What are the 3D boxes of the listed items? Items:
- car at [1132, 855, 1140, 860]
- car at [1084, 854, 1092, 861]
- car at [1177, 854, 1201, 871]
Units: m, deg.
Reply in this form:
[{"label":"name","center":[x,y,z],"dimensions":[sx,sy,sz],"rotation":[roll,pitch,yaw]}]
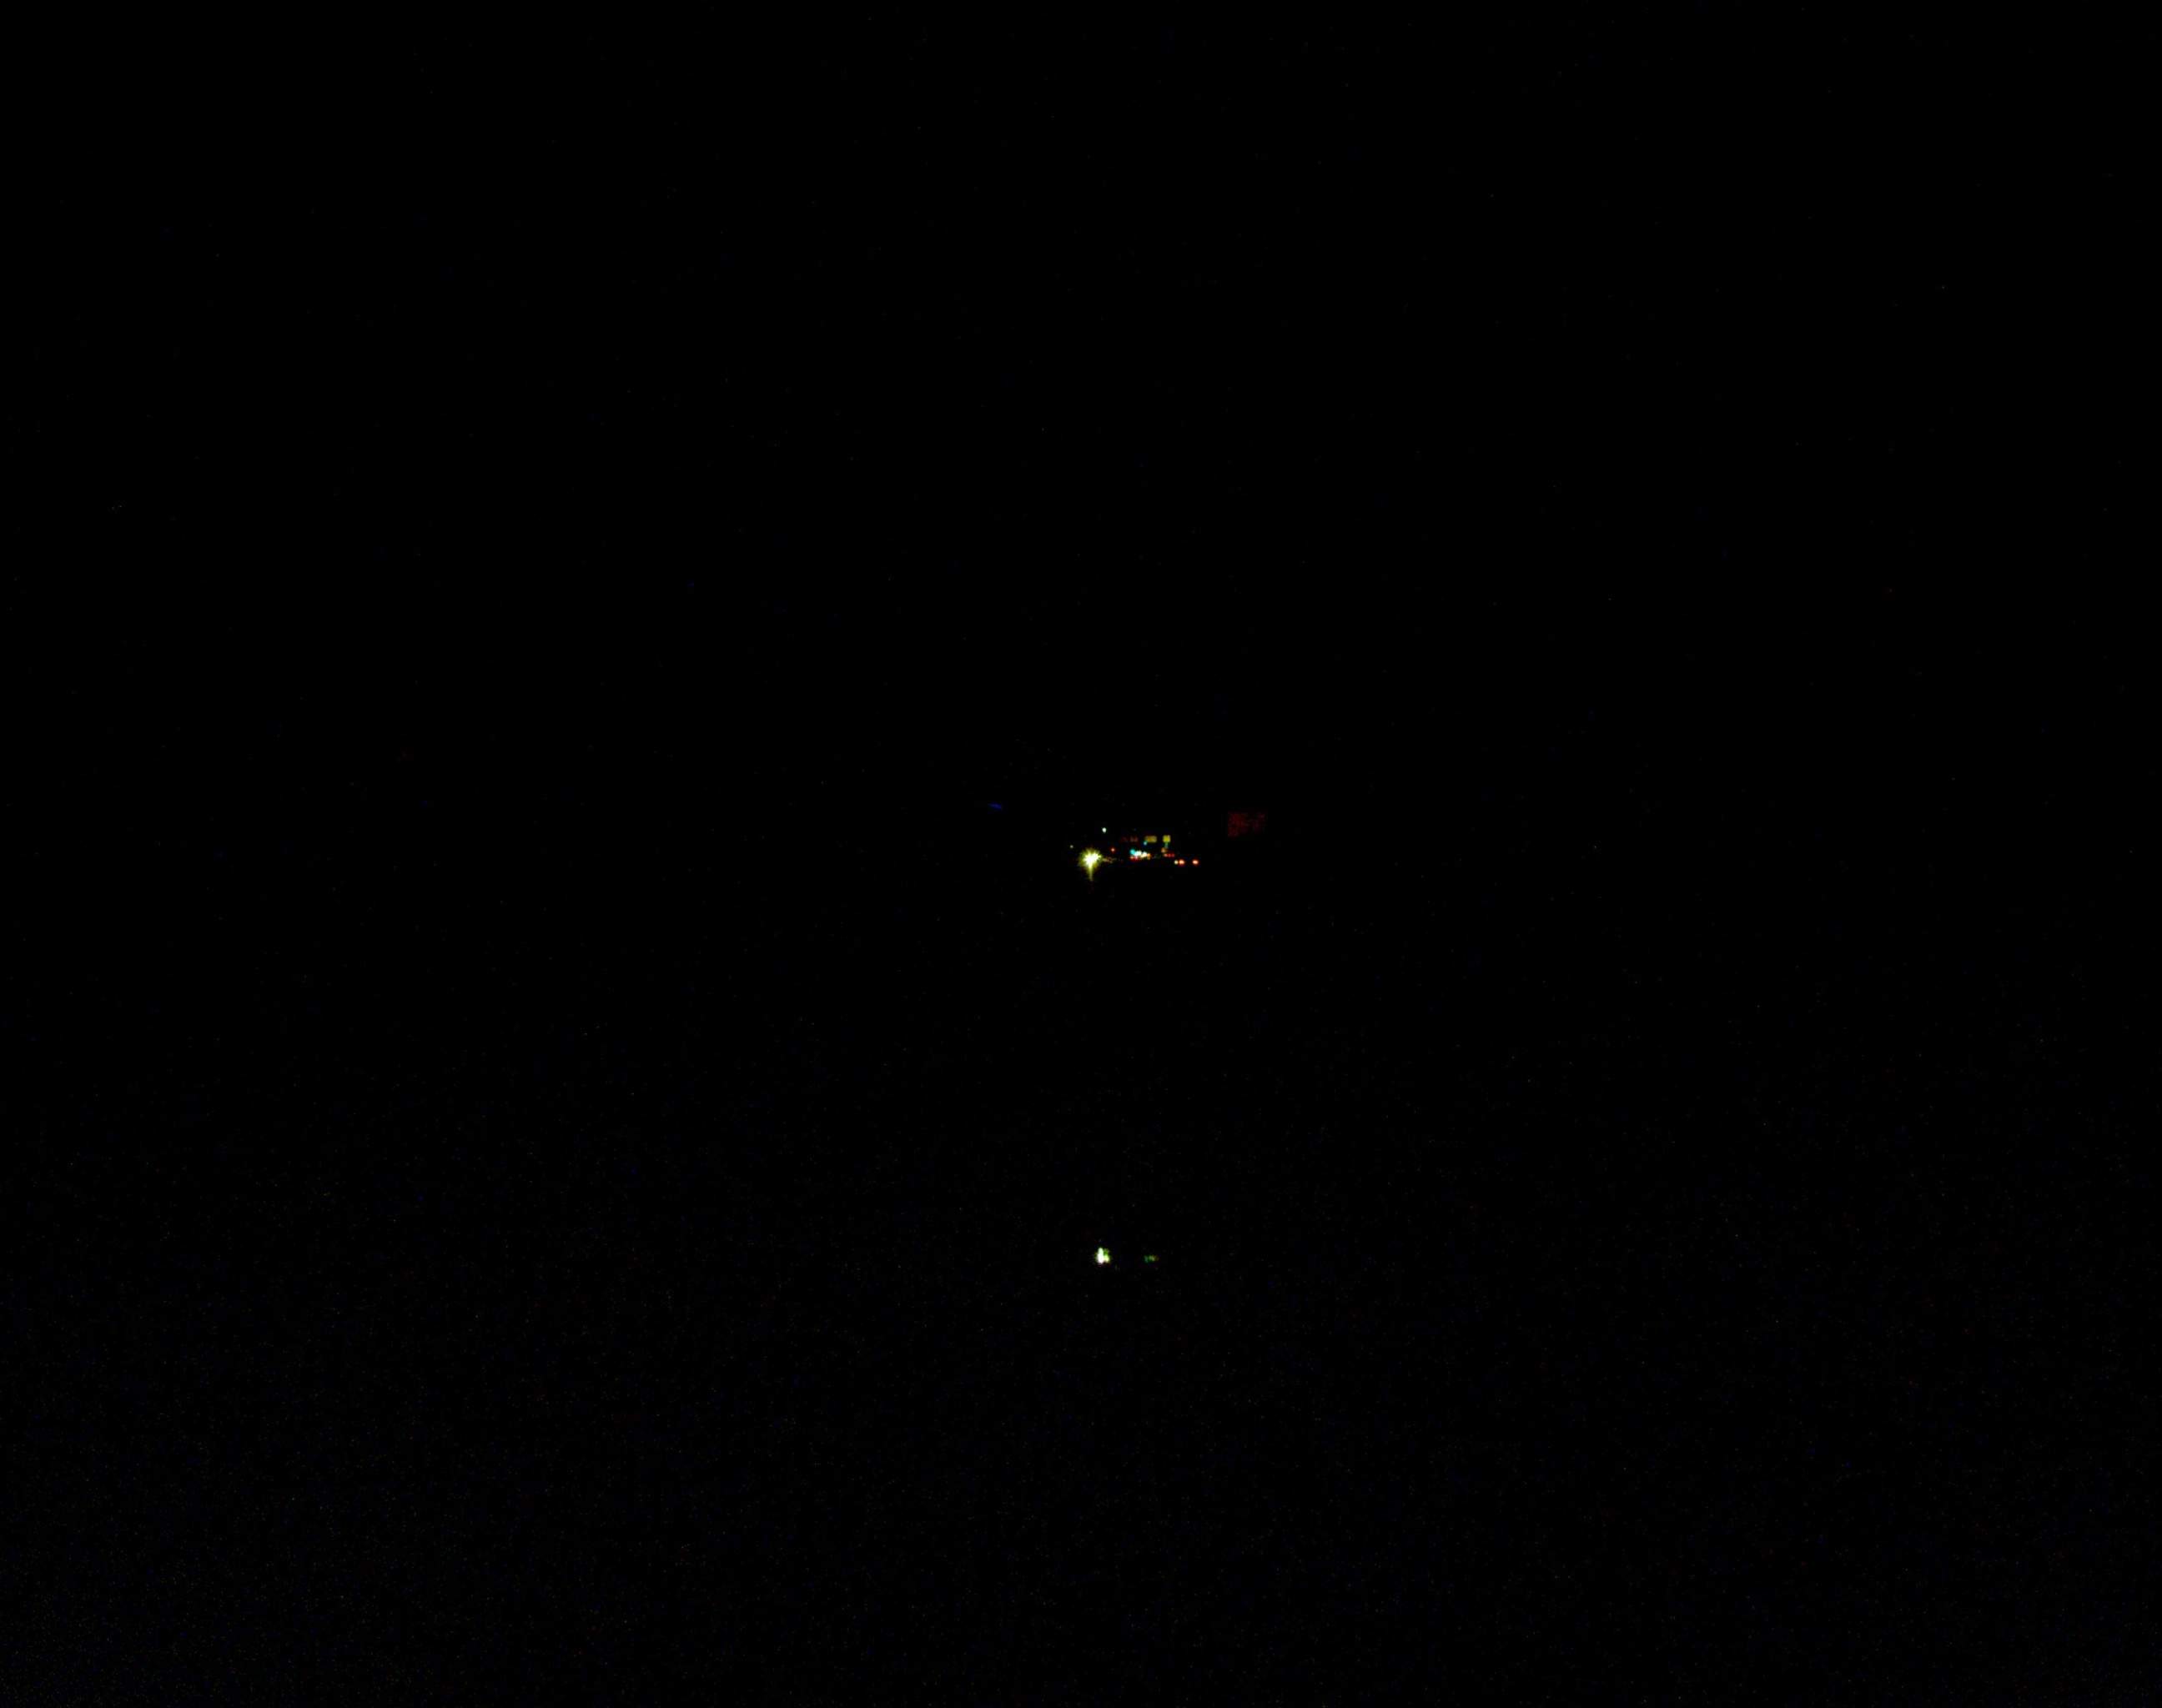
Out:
[{"label":"car","center":[15.633,0.939,216.328],"dimensions":[1.724,1.399,4.574],"rotation":[-2,1,0]},{"label":"car","center":[1.444,0.612,153.009],"dimensions":[1.570,1.336,4.166],"rotation":[-2,0,0]},{"label":"car","center":[10.539,0.777,74.268],"dimensions":[1.687,1.578,4.166],"rotation":[-2,0,0]}]
